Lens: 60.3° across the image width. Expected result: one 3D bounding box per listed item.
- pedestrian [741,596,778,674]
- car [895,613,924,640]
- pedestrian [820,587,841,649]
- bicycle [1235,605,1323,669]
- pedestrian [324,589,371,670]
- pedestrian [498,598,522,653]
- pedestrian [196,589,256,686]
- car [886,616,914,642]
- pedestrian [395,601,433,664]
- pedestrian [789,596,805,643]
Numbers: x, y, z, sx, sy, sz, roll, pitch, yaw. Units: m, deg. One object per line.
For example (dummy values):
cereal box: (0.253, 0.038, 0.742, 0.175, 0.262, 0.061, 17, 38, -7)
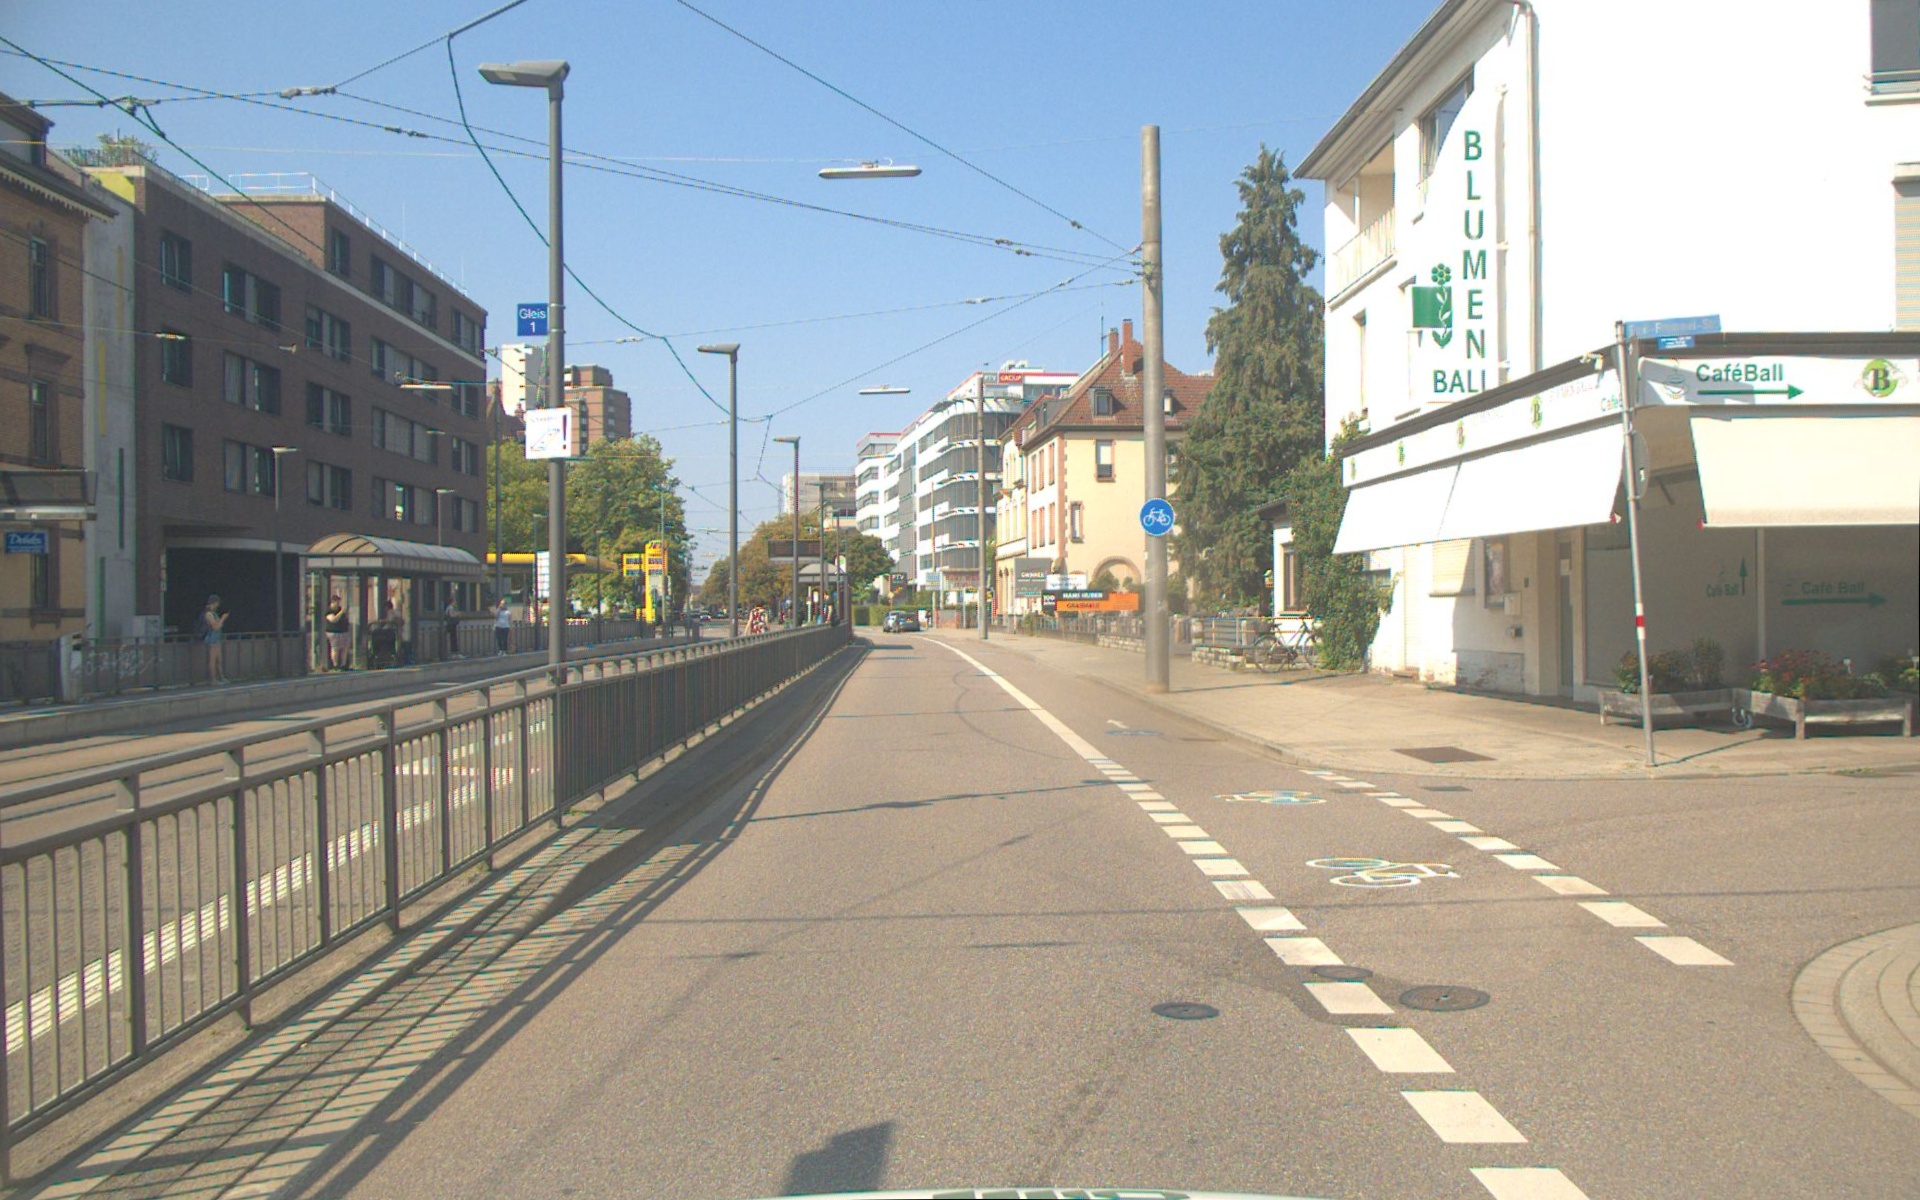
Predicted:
pedestrian: (-4.610, 0.803, 38.061, 0.705, 1.733, 0.884, -2, -1, -1)
car: (-3.726, 1.922, 122.175, 1.970, 1.891, 3.999, -3, 0, -1)
pedestrian: (-3.654, 0.509, 46.718, 0.526, 1.733, 0.581, -2, -1, -5)
bicycle: (6.212, 0.713, 32.398, 0.718, 1.152, 2.833, -4, 0, -9)
pedestrian: (-13.789, 0.661, 37.240, 0.693, 1.777, 0.799, -2, -1, -1)
pedestrian: (-12.963, 0.741, 47.607, 0.522, 1.557, 0.700, -2, -1, -8)
pedestrian: (-13.593, 0.688, 30.637, 0.693, 1.753, 0.799, -2, -1, -1)
car: (-4.644, 2.213, 128.305, 1.970, 1.891, 3.999, -3, 0, -1)
pedestrian: (-13.387, 0.800, 40.559, 0.685, 1.493, 0.534, -2, -2, 0)
pedestrian: (-6.099, 0.728, 61.888, 0.526, 1.733, 0.581, -2, -1, -5)
